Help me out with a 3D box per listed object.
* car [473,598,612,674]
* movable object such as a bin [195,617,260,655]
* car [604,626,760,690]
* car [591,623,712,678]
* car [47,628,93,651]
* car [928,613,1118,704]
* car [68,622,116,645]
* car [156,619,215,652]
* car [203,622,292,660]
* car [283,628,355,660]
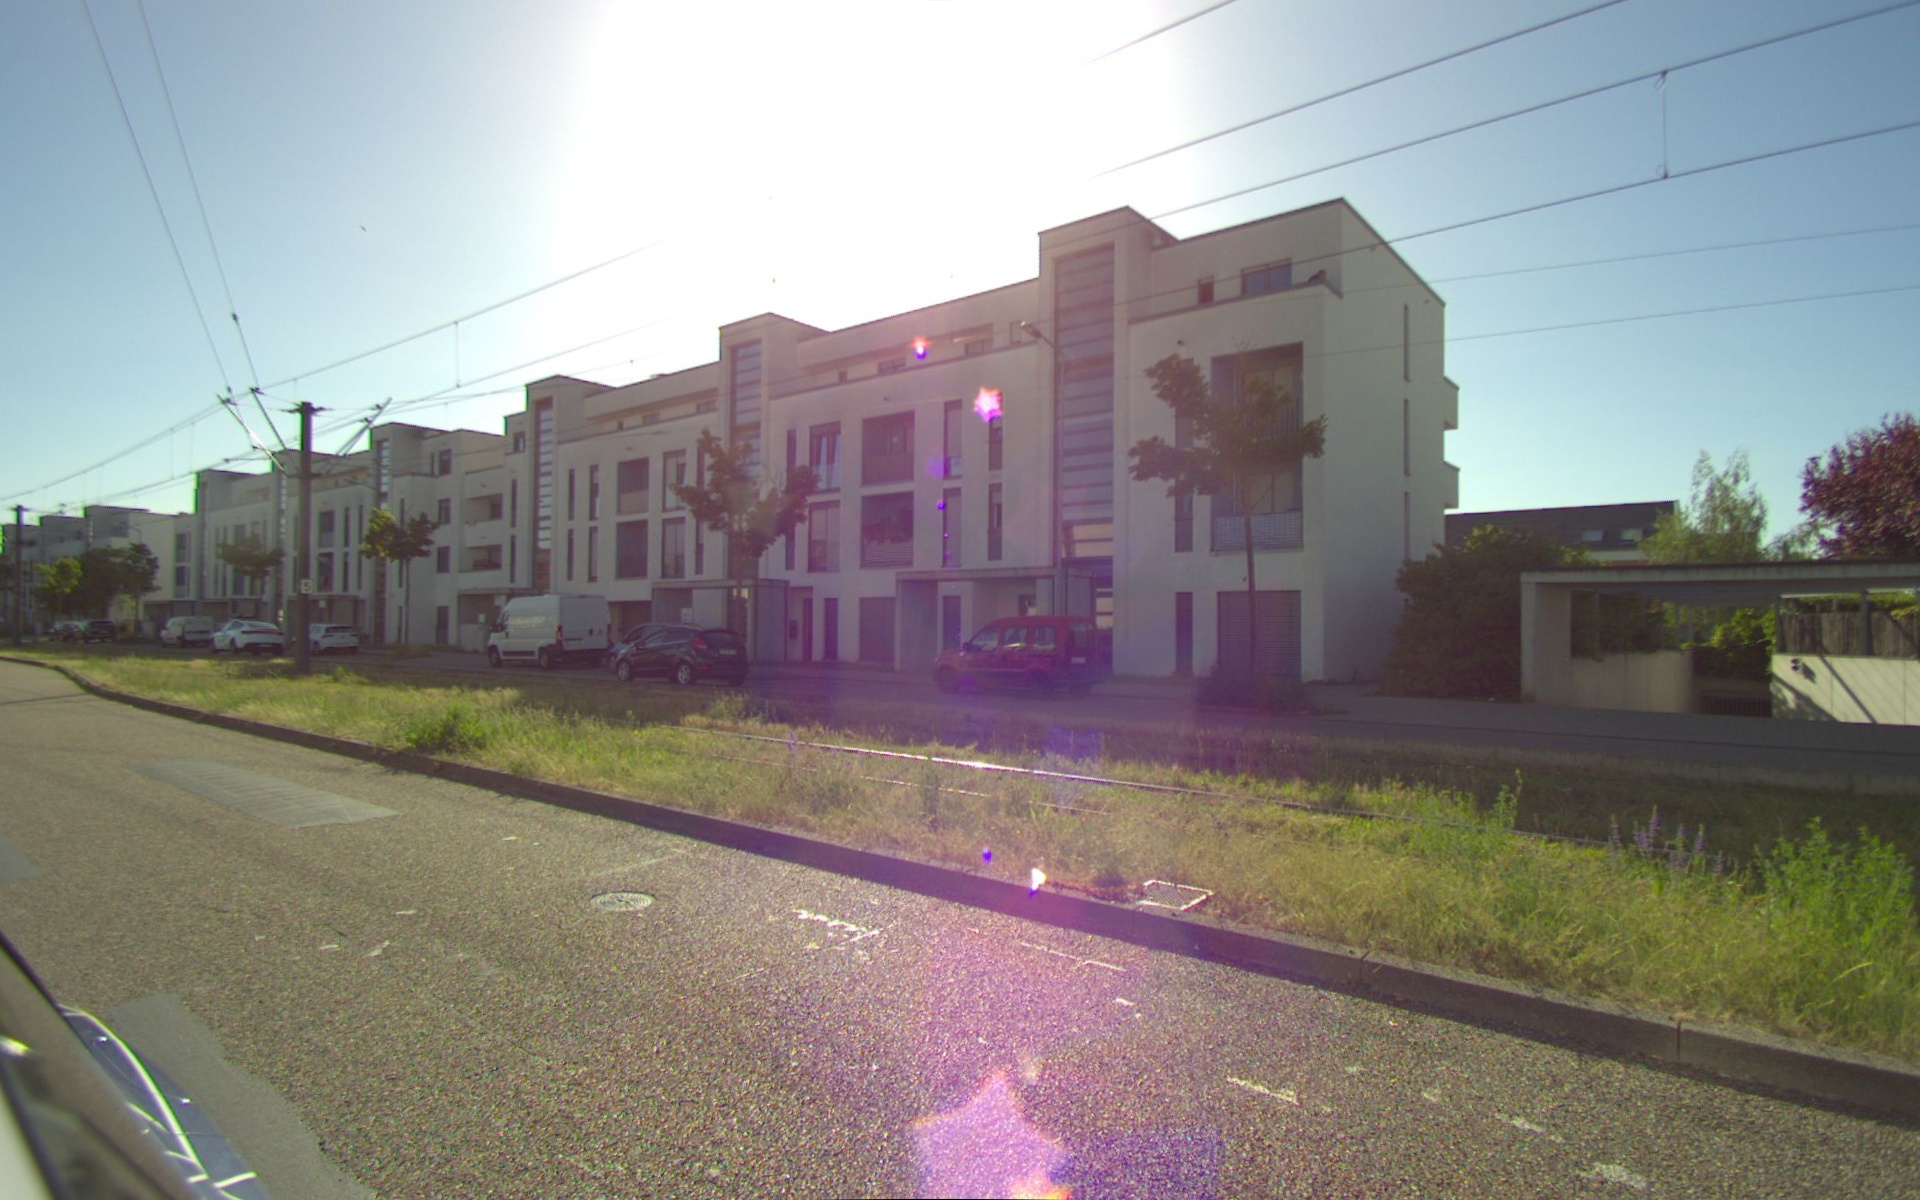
[{"bbox_3d":[-14.688,1.215,35.445,5.583,2.463,2.119,-1,-1,39],"label":"car"},{"bbox_3d":[-40.265,1.963,55.633,4.149,1.952,1.745,-1,-1,37],"label":"movable object such as a bin"},{"bbox_3d":[-6.822,1.394,24.657,3.999,1.429,1.769,-2,-4,42],"label":"car"},{"bbox_3d":[-9.529,1.501,31.158,3.840,1.548,1.805,-2,-1,41],"label":"car"},{"bbox_3d":[-66.832,2.945,75.979,4.149,1.611,1.745,-1,-1,37],"label":"car"},{"bbox_3d":[1.322,1.222,22.269,3.836,1.809,1.861,-2,-1,42],"label":"car"},{"bbox_3d":[-62.314,2.406,72.621,4.149,1.611,1.745,-1,-1,37],"label":"car"},{"bbox_3d":[-46.552,2.139,60.799,4.149,1.884,1.745,-1,-1,37],"label":"car"},{"bbox_3d":[-32.068,1.847,45.510,4.641,1.608,1.974,-1,-4,39],"label":"car"},{"bbox_3d":[-30.575,2.064,48.226,4.149,1.443,1.503,-1,-1,37],"label":"car"}]
